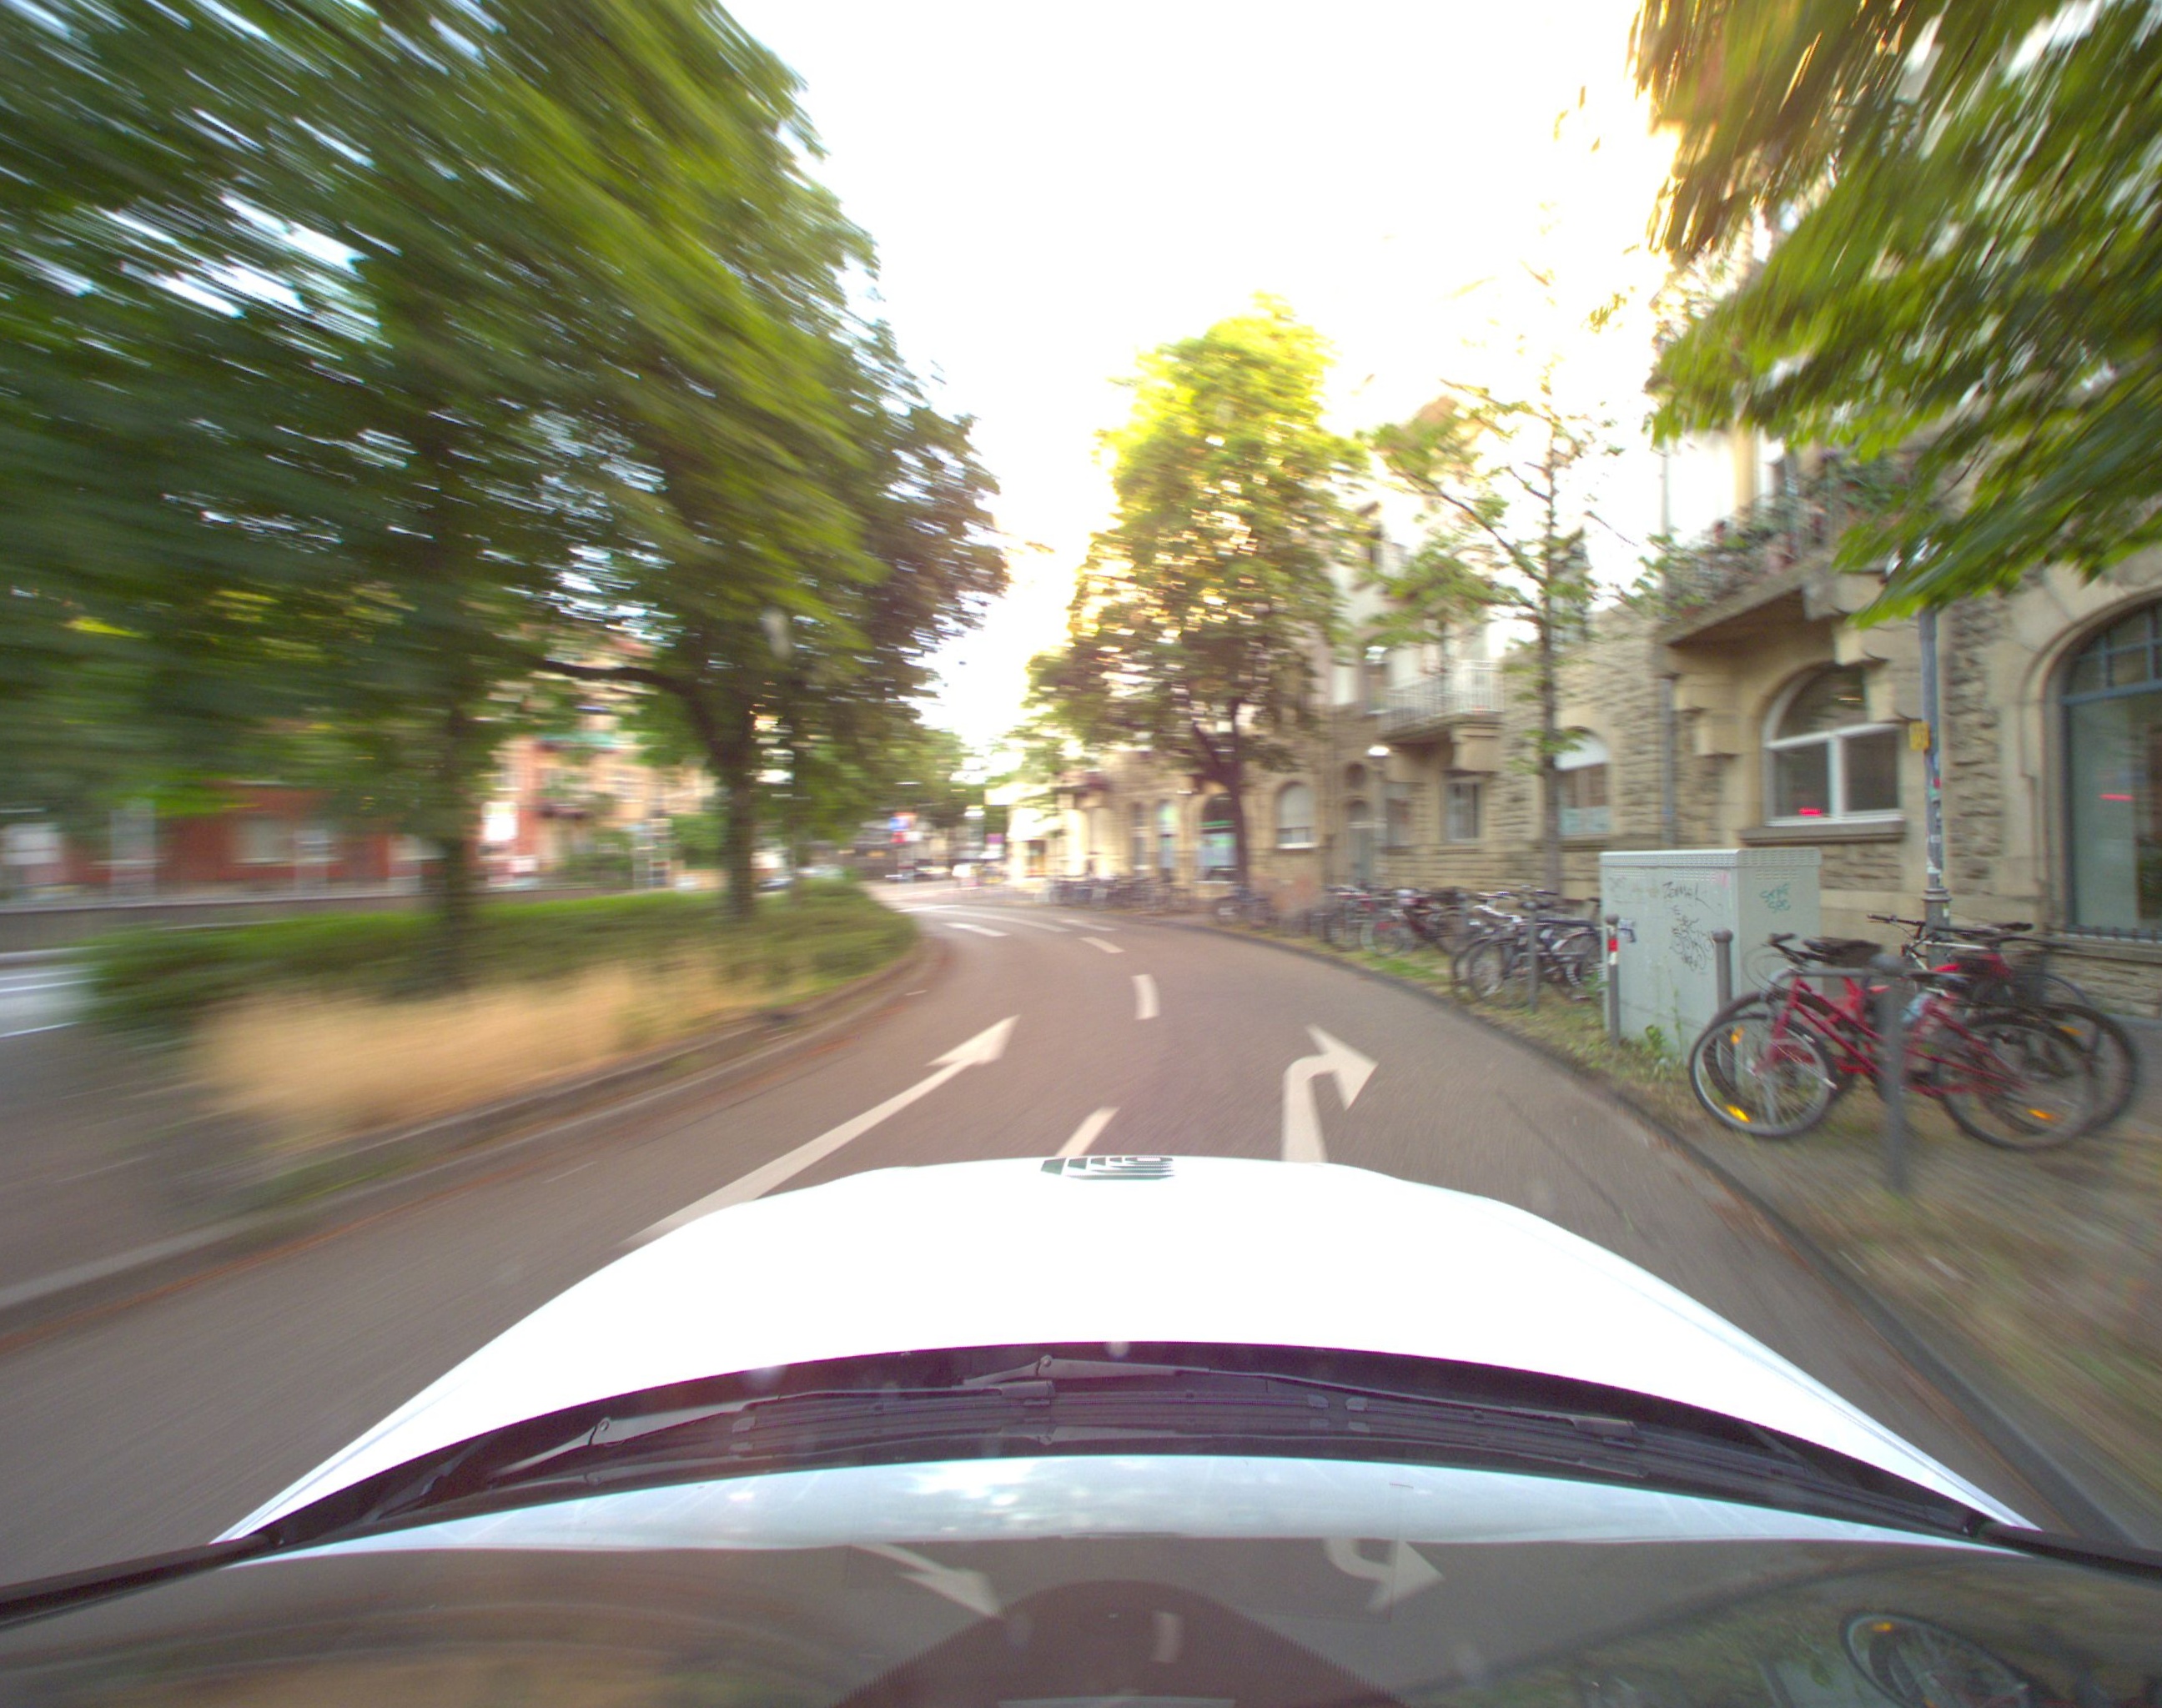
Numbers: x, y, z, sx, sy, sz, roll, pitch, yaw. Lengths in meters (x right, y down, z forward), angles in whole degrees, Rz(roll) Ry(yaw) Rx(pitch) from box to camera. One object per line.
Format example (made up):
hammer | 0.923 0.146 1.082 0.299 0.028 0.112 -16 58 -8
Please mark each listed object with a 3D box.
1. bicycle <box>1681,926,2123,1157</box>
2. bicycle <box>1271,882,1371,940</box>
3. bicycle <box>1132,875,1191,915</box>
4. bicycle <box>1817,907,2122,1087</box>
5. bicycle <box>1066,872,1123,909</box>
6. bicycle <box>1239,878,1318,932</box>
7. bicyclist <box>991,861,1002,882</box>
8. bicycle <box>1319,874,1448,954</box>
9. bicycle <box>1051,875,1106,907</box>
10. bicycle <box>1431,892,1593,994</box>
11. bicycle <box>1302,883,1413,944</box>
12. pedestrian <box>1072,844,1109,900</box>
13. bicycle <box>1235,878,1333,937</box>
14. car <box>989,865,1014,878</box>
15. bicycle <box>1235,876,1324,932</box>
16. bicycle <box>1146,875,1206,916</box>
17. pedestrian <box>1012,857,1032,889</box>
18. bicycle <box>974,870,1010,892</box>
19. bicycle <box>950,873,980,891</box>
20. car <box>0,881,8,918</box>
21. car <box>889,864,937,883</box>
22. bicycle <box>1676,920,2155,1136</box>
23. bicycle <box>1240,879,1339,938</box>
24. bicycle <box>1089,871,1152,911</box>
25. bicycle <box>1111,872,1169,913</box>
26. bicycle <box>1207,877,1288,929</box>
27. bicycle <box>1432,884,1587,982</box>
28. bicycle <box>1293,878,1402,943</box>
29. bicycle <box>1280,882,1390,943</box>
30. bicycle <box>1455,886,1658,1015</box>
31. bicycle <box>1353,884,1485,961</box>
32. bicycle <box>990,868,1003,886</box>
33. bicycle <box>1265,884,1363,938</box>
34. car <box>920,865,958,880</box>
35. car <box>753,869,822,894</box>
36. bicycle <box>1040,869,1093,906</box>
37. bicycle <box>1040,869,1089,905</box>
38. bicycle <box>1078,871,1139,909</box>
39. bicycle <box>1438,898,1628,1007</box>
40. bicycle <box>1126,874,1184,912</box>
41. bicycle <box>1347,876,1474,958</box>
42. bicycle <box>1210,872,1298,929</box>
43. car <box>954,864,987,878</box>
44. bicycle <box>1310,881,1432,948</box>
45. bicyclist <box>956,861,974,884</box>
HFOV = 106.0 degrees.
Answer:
bicycle | 4.115 0.907 4.192 1.591 1.039 0.434 -1 -1 14
bicycle | 4.648 1.095 15.790 1.849 1.051 0.417 -1 -1 -10
bicycle | 2.304 1.169 23.346 1.679 1.078 0.482 -1 -1 -28
bicycle | 6.072 0.907 5.717 0.428 0.969 1.731 -1 -1 8
bicycle | 0.451 1.187 27.105 1.900 1.162 0.633 -1 -1 -37
bicycle | 4.425 1.113 18.199 1.862 1.104 0.568 -1 -1 -33
bicyclist | -6.013 1.236 58.088 0.695 1.461 0.784 -1 -1 0
bicycle | 4.881 0.949 13.172 1.914 1.200 0.551 -1 -1 -8
bicycle | -0.078 1.256 28.337 1.815 1.038 0.692 -1 -1 -37
bicycle | 4.832 0.989 9.165 1.598 1.063 0.418 -1 -1 -3
bicycle | 4.895 1.047 14.463 1.847 1.014 0.418 -1 -1 -6
pedestrian | 0.364 0.663 31.229 1.015 2.085 1.052 -1 0 -24
bicycle | 4.280 1.132 17.236 1.849 1.130 0.417 -1 -20 -10
car | -9.762 2.168 100.182 1.931 1.482 4.334 -1 -1 11
bicycle | 4.297 1.068 17.648 1.849 1.144 0.417 -1 -1 -10
bicycle | 2.696 1.162 22.975 1.679 1.078 0.482 -1 -1 -28
pedestrian | -3.305 1.056 45.728 0.871 1.794 0.917 -1 -1 -24
bicycle | -4.983 1.496 45.461 1.879 1.130 0.726 -1 -1 -22
bicycle | -7.270 1.738 51.165 1.803 1.055 0.691 0 -1 -43
car | -51.950 2.134 37.993 4.658 1.704 2.012 -2 -2 34
car | -14.073 1.616 68.575 1.928 1.510 4.653 -1 -1 18
bicycle | 4.471 0.902 4.489 1.879 1.039 0.434 -1 -1 14
bicycle | 4.333 1.131 16.965 1.849 1.092 0.417 -1 -20 -10
bicycle | 1.253 1.158 25.846 1.895 1.162 0.698 -1 -1 -26
bicycle | 1.790 1.147 24.594 1.675 1.127 0.483 -1 5 -19
bicycle | 3.894 1.125 19.023 1.887 1.139 0.488 1 2 -23
bicycle | 5.009 0.916 9.552 1.598 1.076 0.418 -1 -1 -3
bicycle | 4.827 1.018 14.782 1.847 1.116 0.418 -1 -1 -6
bicycle | 4.769 1.080 15.320 1.914 1.061 0.534 -1 -1 -9
bicycle | 4.531 0.905 7.827 1.596 1.148 0.555 -1 -1 2
bicycle | 4.988 0.998 12.040 1.788 1.063 0.447 -1 -1 -6
bicycle | -6.011 1.641 58.085 0.695 1.236 1.863 -1 -1 0
bicycle | 4.597 1.111 16.076 1.849 0.999 0.417 -1 -1 -10
car | -14.203 1.862 81.556 1.990 1.427 4.649 -1 -1 14
car | -19.004 1.749 52.976 1.928 1.510 4.440 -1 -1 18
bicycle | -0.514 1.174 29.079 1.801 1.237 0.692 -1 -1 -37
bicycle | -0.605 1.205 30.251 1.801 1.237 0.644 -1 -1 -38
bicycle | 0.904 1.170 26.515 1.895 1.162 0.635 -1 -1 -26
bicycle | 4.550 0.981 8.269 1.596 1.020 0.555 -1 -1 2
bicycle | 2.234 1.169 24.444 1.675 1.078 0.483 -1 -1 -20
bicycle | 5.024 0.944 12.452 1.788 1.168 0.447 -1 -1 -6
bicycle | 3.941 1.069 18.590 1.879 1.217 0.490 -1 -7 -10
car | -12.337 1.894 91.146 1.928 1.482 4.187 -1 -1 18
bicycle | 4.938 1.018 13.915 1.914 1.065 0.551 -1 -1 -8
bicyclist | -7.290 1.132 51.166 0.869 1.411 0.691 0 -1 -43
